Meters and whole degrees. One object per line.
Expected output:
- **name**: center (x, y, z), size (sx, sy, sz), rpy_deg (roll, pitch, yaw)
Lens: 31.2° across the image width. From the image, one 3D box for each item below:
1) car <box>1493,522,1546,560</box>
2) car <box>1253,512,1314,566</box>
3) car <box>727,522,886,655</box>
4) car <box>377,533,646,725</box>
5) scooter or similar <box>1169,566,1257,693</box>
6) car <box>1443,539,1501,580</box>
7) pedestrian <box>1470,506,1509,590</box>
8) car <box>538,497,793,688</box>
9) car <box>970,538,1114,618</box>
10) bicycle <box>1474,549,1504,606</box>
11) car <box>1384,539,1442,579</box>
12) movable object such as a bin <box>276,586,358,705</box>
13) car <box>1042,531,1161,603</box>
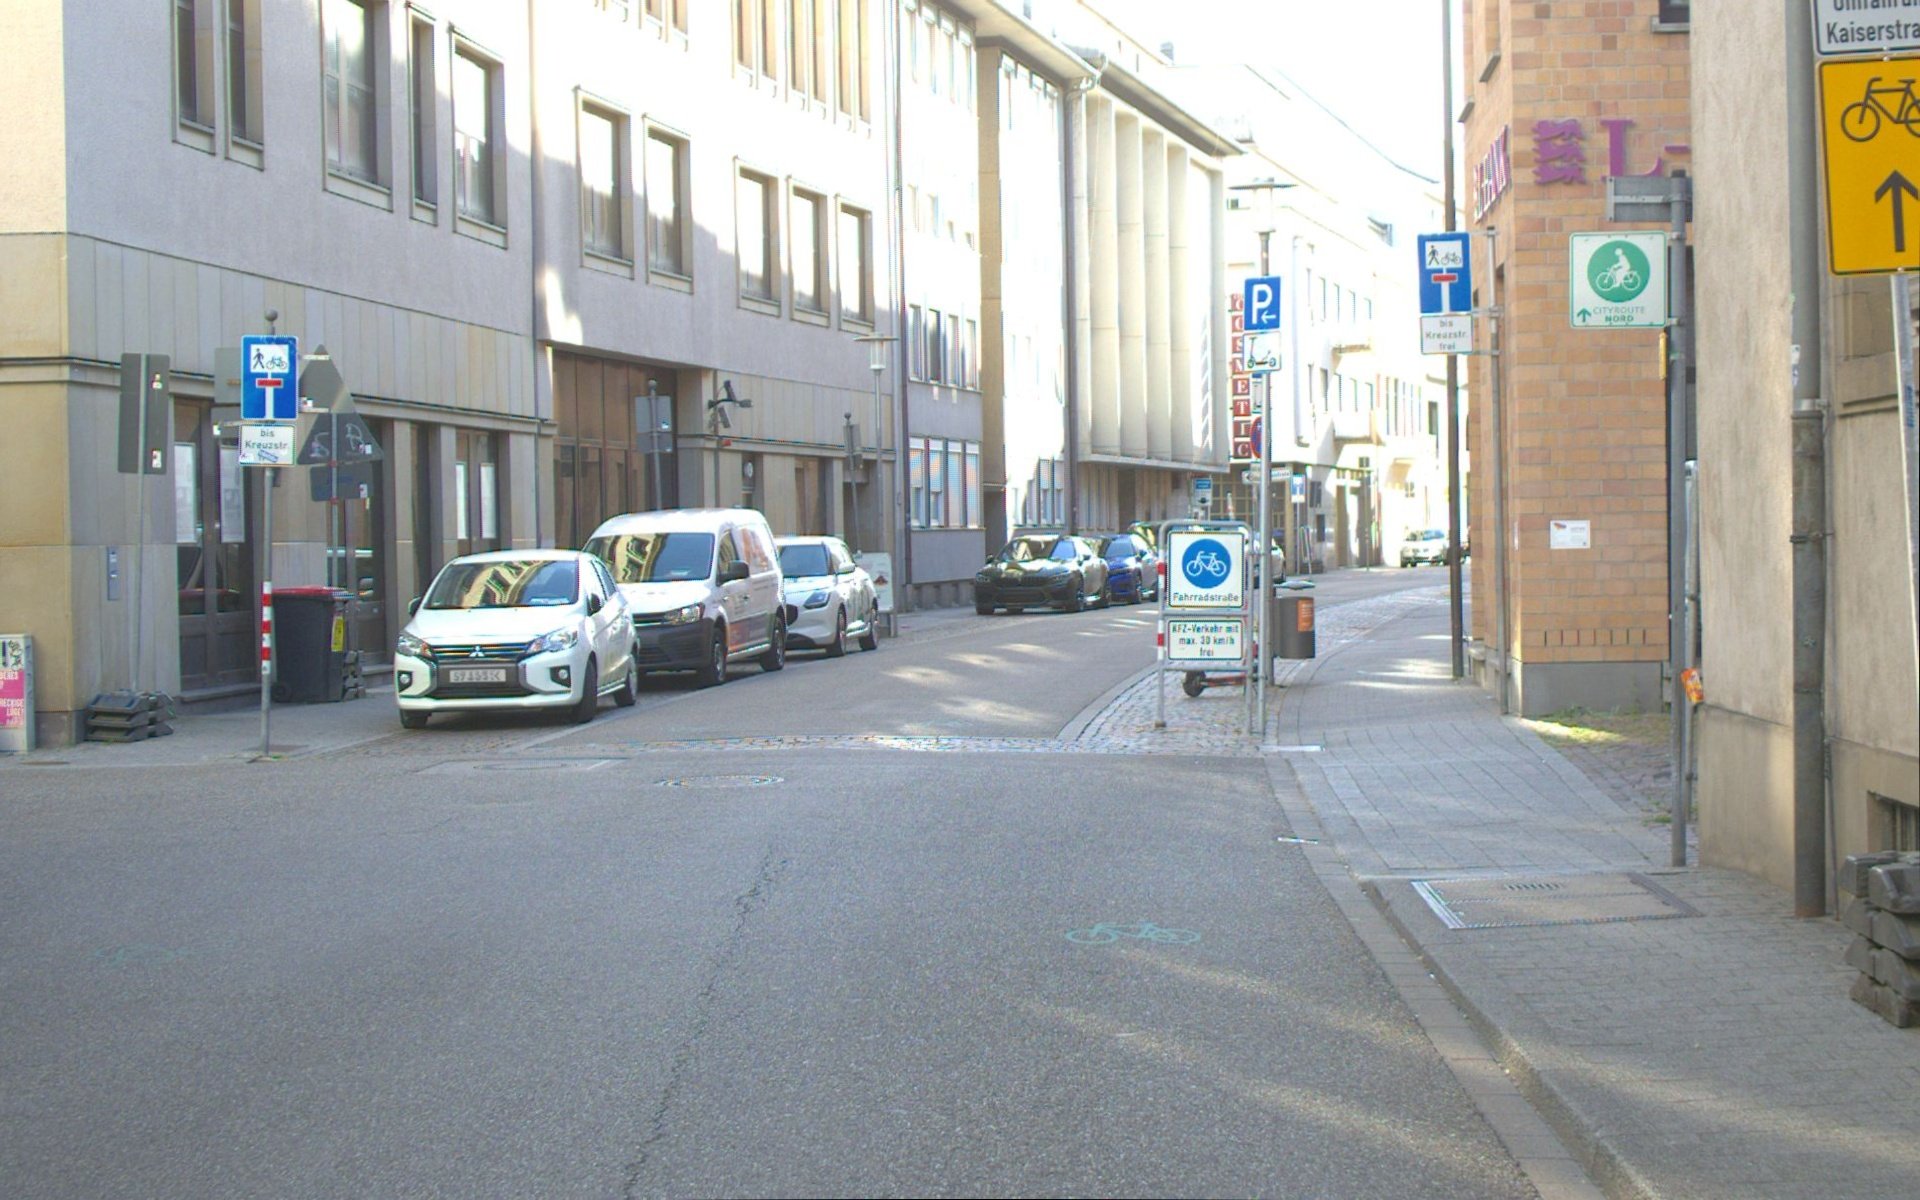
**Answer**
- **car**: center (21.199, -2.242, 130.201), size (1.690, 1.365, 3.616), rpy_deg (-1, 1, 14)
- **car**: center (9.335, -1.773, 99.102), size (1.339, 1.489, 3.345), rpy_deg (-1, 1, 12)
- **car**: center (-1.855, -0.173, 42.334), size (1.271, 1.501, 3.401), rpy_deg (-2, 1, 8)
- **car**: center (-3.889, 0.205, 30.361), size (1.670, 1.501, 3.794), rpy_deg (-2, 1, 3)
- **scooter or similar**: center (2.316, 0.269, 31.406), size (0.771, 1.132, 0.269), rpy_deg (1, 1, 5)
- **car**: center (18.451, -1.462, 123.757), size (1.690, 1.365, 3.616), rpy_deg (-1, 1, 14)
- **pedestrian**: center (11.023, -1.085, 71.558), size (0.664, 1.724, 0.840), rpy_deg (1, 1, 1)
- **car**: center (-3.018, -0.133, 36.190), size (1.671, 1.812, 4.551), rpy_deg (-2, 1, 7)
- **car**: center (1.539, -0.416, 62.648), size (1.882, 1.327, 4.098), rpy_deg (-1, 1, 12)
- **bicycle**: center (9.698, -0.427, 63.080), size (0.511, 0.990, 2.647), rpy_deg (-1, 1, 8)
- **car**: center (16.355, -1.487, 124.018), size (1.690, 1.365, 3.616), rpy_deg (-1, 1, 14)
- **movable object such as a bin**: center (-5.903, 0.414, 31.599), size (0.608, 1.057, 0.713), rpy_deg (1, 1, -1)
- **car**: center (2.866, -0.684, 69.036), size (1.725, 1.336, 3.998), rpy_deg (-1, 1, 12)
